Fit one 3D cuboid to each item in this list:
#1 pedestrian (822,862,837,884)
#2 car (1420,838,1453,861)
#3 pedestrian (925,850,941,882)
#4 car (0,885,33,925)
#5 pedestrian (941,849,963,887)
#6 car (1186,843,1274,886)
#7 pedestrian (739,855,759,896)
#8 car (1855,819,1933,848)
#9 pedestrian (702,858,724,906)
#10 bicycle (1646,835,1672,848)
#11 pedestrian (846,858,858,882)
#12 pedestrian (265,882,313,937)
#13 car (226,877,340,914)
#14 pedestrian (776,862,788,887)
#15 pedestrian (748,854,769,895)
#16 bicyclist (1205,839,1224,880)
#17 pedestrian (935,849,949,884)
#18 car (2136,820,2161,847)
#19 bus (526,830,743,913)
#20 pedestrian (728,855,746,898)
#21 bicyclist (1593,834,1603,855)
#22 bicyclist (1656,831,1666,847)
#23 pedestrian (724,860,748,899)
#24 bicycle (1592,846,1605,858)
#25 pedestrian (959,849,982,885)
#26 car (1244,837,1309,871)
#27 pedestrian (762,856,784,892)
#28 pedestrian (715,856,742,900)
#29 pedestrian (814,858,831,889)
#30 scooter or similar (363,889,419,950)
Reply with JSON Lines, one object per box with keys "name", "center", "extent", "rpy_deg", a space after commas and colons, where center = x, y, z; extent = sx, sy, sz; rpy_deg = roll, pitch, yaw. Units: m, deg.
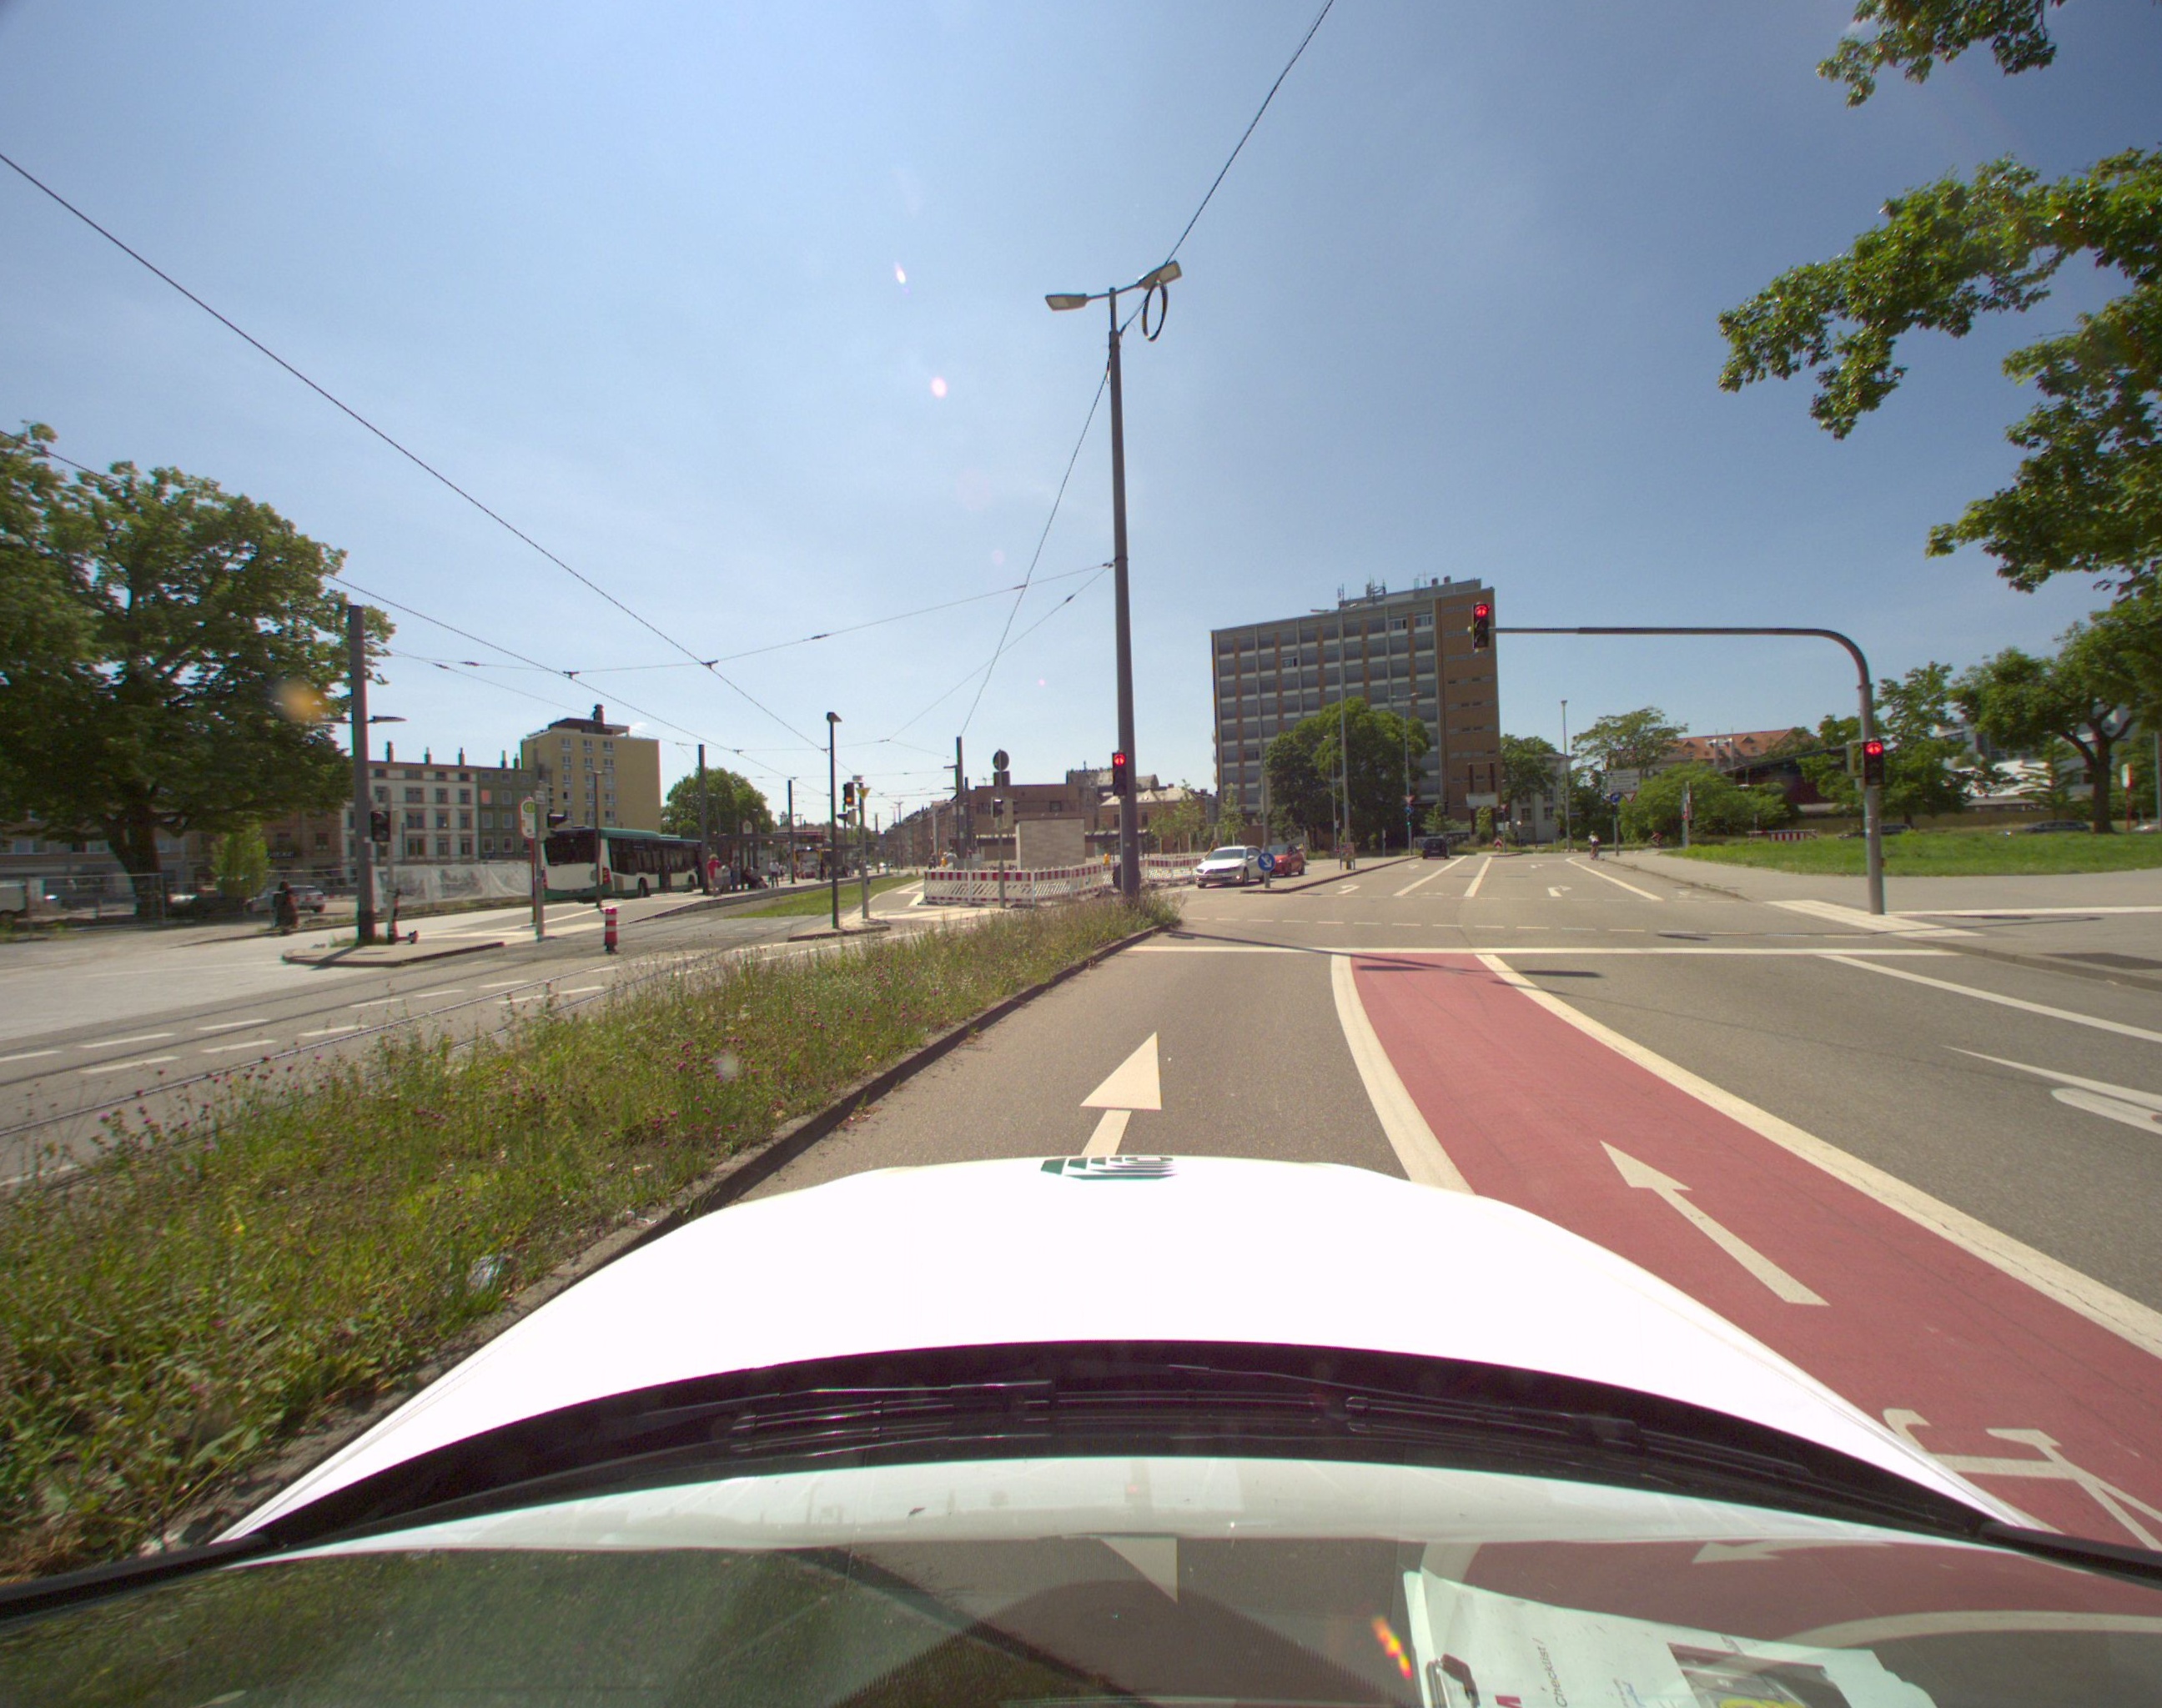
{"name": "pedestrian", "center": [-21.127, 1.601, 68.513], "extent": [0.977, 1.834, 0.769], "rpy_deg": [-2, 0, -31]}
{"name": "car", "center": [24.465, -0.319, 56.106], "extent": [1.675, 1.527, 3.707], "rpy_deg": [-2, 0, 18]}
{"name": "pedestrian", "center": [-8.099, 0.664, 44.563], "extent": [0.728, 1.707, 0.739], "rpy_deg": [-1, -1, -19]}
{"name": "car", "center": [-54.216, 2.590, 38.637], "extent": [2.096, 1.884, 5.056], "rpy_deg": [-3, 0, 13]}
{"name": "pedestrian", "center": [-6.436, 0.693, 40.635], "extent": [0.721, 1.864, 0.772], "rpy_deg": [-3, -2, 42]}
{"name": "car", "center": [5.752, 0.360, 31.013], "extent": [1.975, 1.438, 4.733], "rpy_deg": [-3, -1, 27]}
{"name": "pedestrian", "center": [-17.283, 1.099, 42.388], "extent": [0.826, 2.096, 0.637], "rpy_deg": [-2, 0, -19]}
{"name": "car", "center": [63.060, -1.543, 63.219], "extent": [3.948, 2.014, 1.479], "rpy_deg": [-3, -1, 30]}
{"name": "pedestrian", "center": [-15.027, 1.129, 33.260], "extent": [0.674, 1.909, 0.637], "rpy_deg": [-2, 0, -17]}
{"name": "bicycle", "center": [54.926, -1.158, 77.413], "extent": [1.987, 1.135, 0.577], "rpy_deg": [-3, -2, 39]}
{"name": "pedestrian", "center": [-20.612, 1.412, 73.364], "extent": [0.828, 2.096, 0.899], "rpy_deg": [-2, 0, -8]}
{"name": "pedestrian", "center": [-24.170, 1.668, 24.862], "extent": [0.603, 1.602, 0.826], "rpy_deg": [-2, 0, 3]}
{"name": "car", "center": [-41.155, 2.138, 42.032], "extent": [4.163, 1.649, 1.854], "rpy_deg": [-2, 0, 5]}
{"name": "pedestrian", "center": [-25.633, 1.762, 69.796], "extent": [0.709, 2.111, 0.650], "rpy_deg": [-2, 0, -31]}
{"name": "pedestrian", "center": [-17.168, 1.072, 43.306], "extent": [0.902, 2.096, 0.826], "rpy_deg": [-2, 0, -18]}
{"name": "bicyclist", "center": [5.723, 0.227, 34.888], "extent": [0.561, 1.719, 0.510], "rpy_deg": [-2, 0, 34]}
{"name": "pedestrian", "center": [-7.811, 0.721, 45.816], "extent": [0.719, 1.923, 1.070], "rpy_deg": [-2, -1, -12]}
{"name": "car", "center": [76.791, -1.500, 56.570], "extent": [3.948, 1.871, 1.479], "rpy_deg": [-3, -1, 30]}
{"name": "bus", "center": [-21.377, 0.721, 41.145], "extent": [3.007, 3.158, 17.459], "rpy_deg": [-2, 0, -6]}
{"name": "pedestrian", "center": [-17.443, 1.140, 41.345], "extent": [0.701, 2.096, 0.641], "rpy_deg": [-2, 0, -18]}
{"name": "bicyclist", "center": [29.893, -0.544, 47.063], "extent": [0.348, 1.227, 0.567], "rpy_deg": [-3, 0, 24]}
{"name": "bicyclist", "center": [55.059, -1.445, 77.280], "extent": [0.677, 1.488, 0.789], "rpy_deg": [-3, -2, 38]}
{"name": "pedestrian", "center": [-16.863, 1.238, 39.794], "extent": [0.914, 1.851, 0.654], "rpy_deg": [-2, 0, -17]}
{"name": "bicycle", "center": [29.930, -0.116, 47.105], "extent": [0.373, 0.646, 1.654], "rpy_deg": [-3, 0, 24]}
{"name": "pedestrian", "center": [-5.698, 0.664, 41.905], "extent": [0.981, 1.832, 0.629], "rpy_deg": [-2, 0, -22]}
{"name": "car", "center": [8.906, -0.011, 36.925], "extent": [1.714, 1.425, 4.149], "rpy_deg": [-3, -1, 30]}
{"name": "pedestrian", "center": [-18.598, 1.194, 49.173], "extent": [0.897, 2.096, 0.831], "rpy_deg": [-2, 0, -2]}
{"name": "pedestrian", "center": [-16.589, 1.124, 38.337], "extent": [0.944, 1.990, 1.023], "rpy_deg": [-2, 0, -17]}
{"name": "pedestrian", "center": [-18.326, 1.363, 57.766], "extent": [0.897, 2.096, 0.831], "rpy_deg": [-2, 0, -2]}
{"name": "scooter or similar", "center": [-14.730, 1.375, 17.417], "extent": [0.319, 1.206, 1.244], "rpy_deg": [-2, 0, -12]}
